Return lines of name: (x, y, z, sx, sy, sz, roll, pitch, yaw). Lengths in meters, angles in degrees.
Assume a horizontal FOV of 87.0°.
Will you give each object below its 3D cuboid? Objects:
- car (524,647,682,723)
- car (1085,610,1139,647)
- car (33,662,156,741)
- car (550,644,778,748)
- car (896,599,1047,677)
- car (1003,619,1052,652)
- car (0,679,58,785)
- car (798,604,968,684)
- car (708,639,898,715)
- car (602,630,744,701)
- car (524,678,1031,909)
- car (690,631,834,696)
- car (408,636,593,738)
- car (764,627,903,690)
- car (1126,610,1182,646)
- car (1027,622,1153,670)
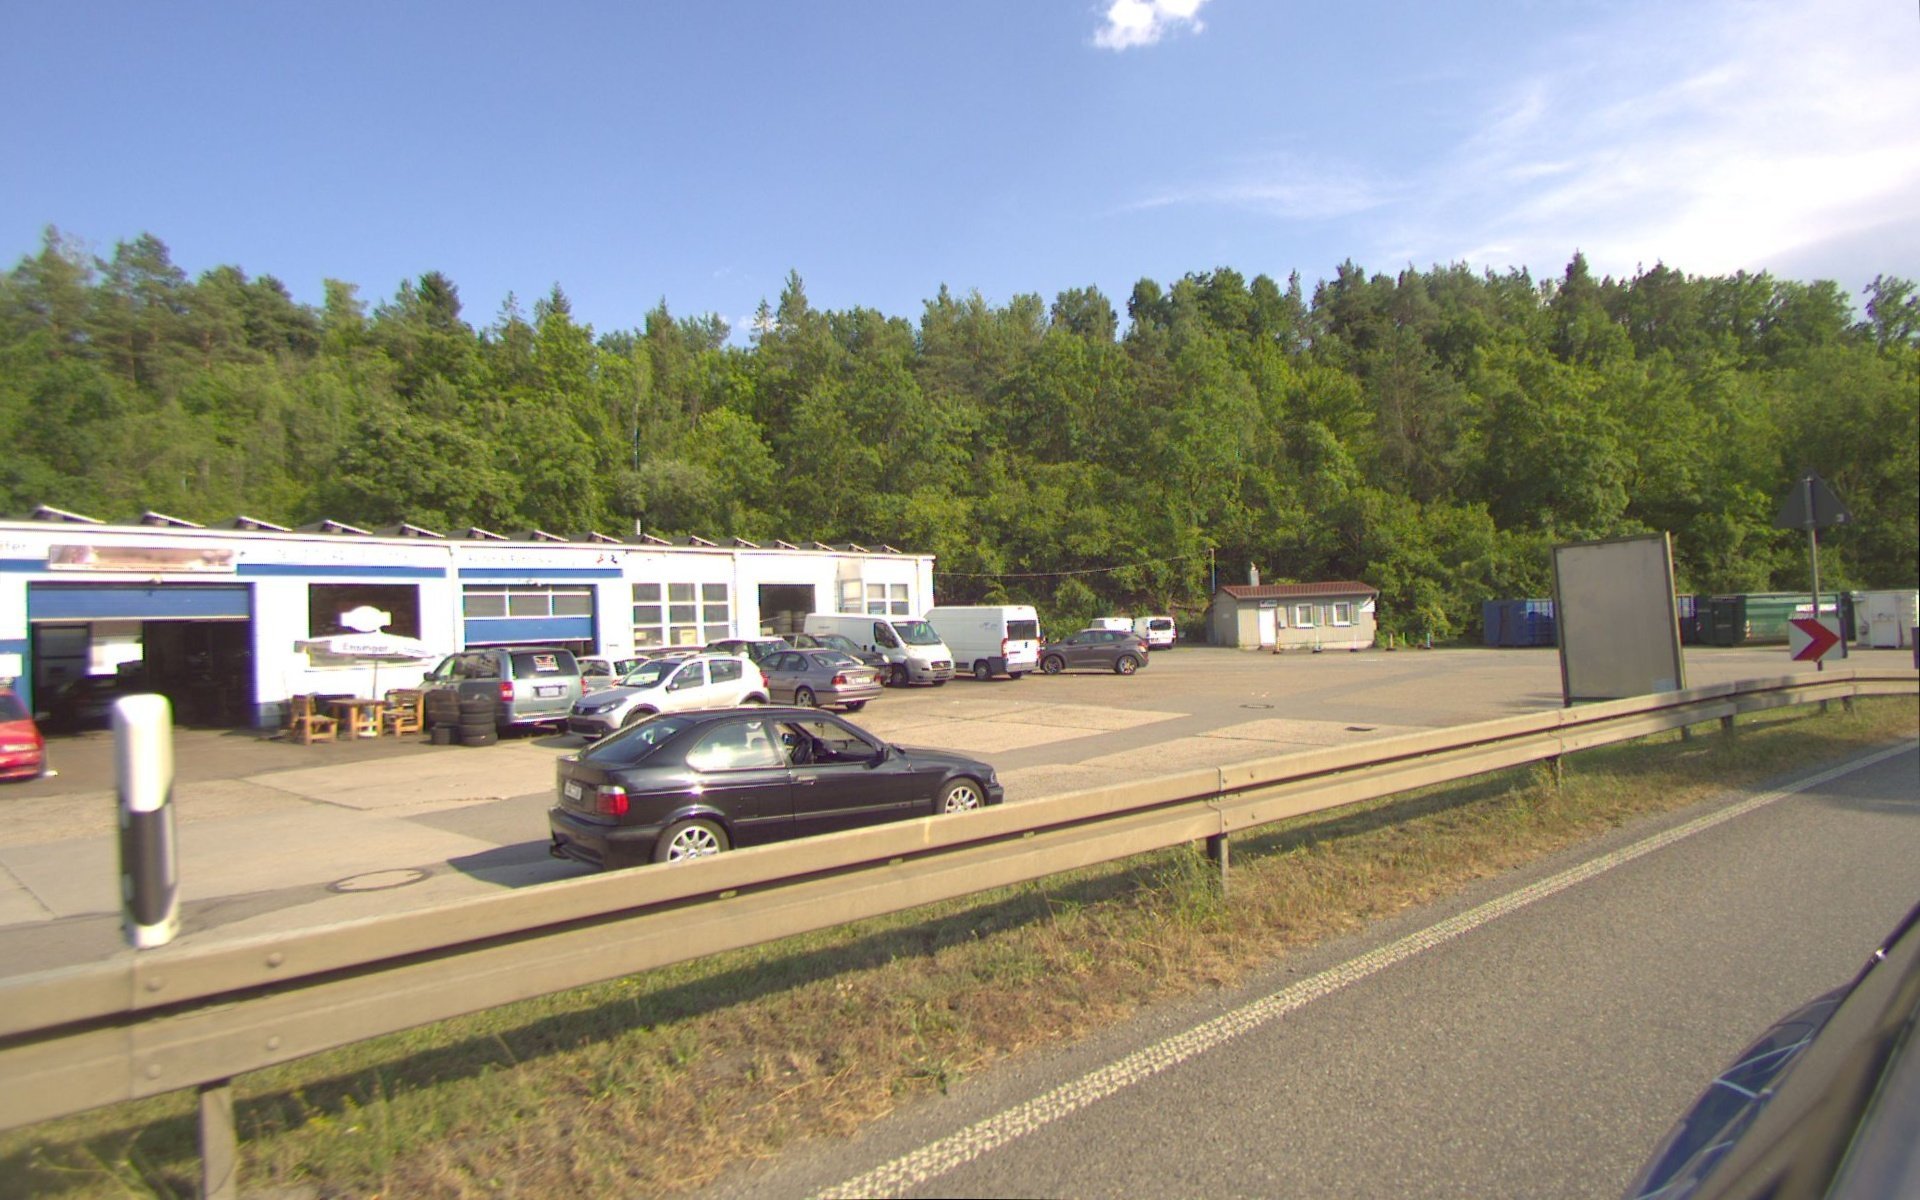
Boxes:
car: (-8.732, 1.991, 24.626, 4.140, 1.480, 1.843, 0, 0, 41)
car: (8.935, 1.688, 59.856, 1.959, 2.040, 4.103, -1, -1, -9)
car: (-21.804, 2.482, 25.443, 4.013, 1.580, 1.719, 0, 0, 40)
car: (-5.582, 1.730, 19.449, 1.786, 1.617, 3.934, -1, -1, 38)
car: (0.334, 1.231, 34.525, 4.901, 2.480, 2.176, -1, -1, 41)
car: (3.912, 2.036, 59.072, 1.956, 1.695, 4.563, -1, 0, -7)
car: (-15.784, 2.063, 16.016, 4.064, 1.365, 1.866, -1, -1, 42)
car: (-2.526, 1.321, 32.051, 5.470, 2.303, 2.260, -1, -1, 42)
car: (-3.849, 1.759, 24.255, 4.713, 1.452, 1.929, 0, 0, 41)
car: (-7.725, 1.685, 27.077, 3.984, 1.631, 1.866, 0, 0, 42)
car: (-1.522, 1.533, 9.237, 4.195, 1.370, 1.828, 0, -2, -39)
car: (-5.633, 1.724, 28.526, 4.237, 1.631, 1.866, -2, -1, 42)
car: (-9.615, 1.703, 21.030, 4.241, 1.751, 1.865, 0, 0, 40)
car: (-3.812, 1.669, 30.160, 4.156, 1.631, 1.895, 0, 0, 42)
car: (11.460, 1.655, 60.105, 1.960, 2.040, 4.563, -1, -1, -6)
car: (4.629, 1.633, 36.482, 4.323, 1.691, 1.941, 0, -2, 2)
